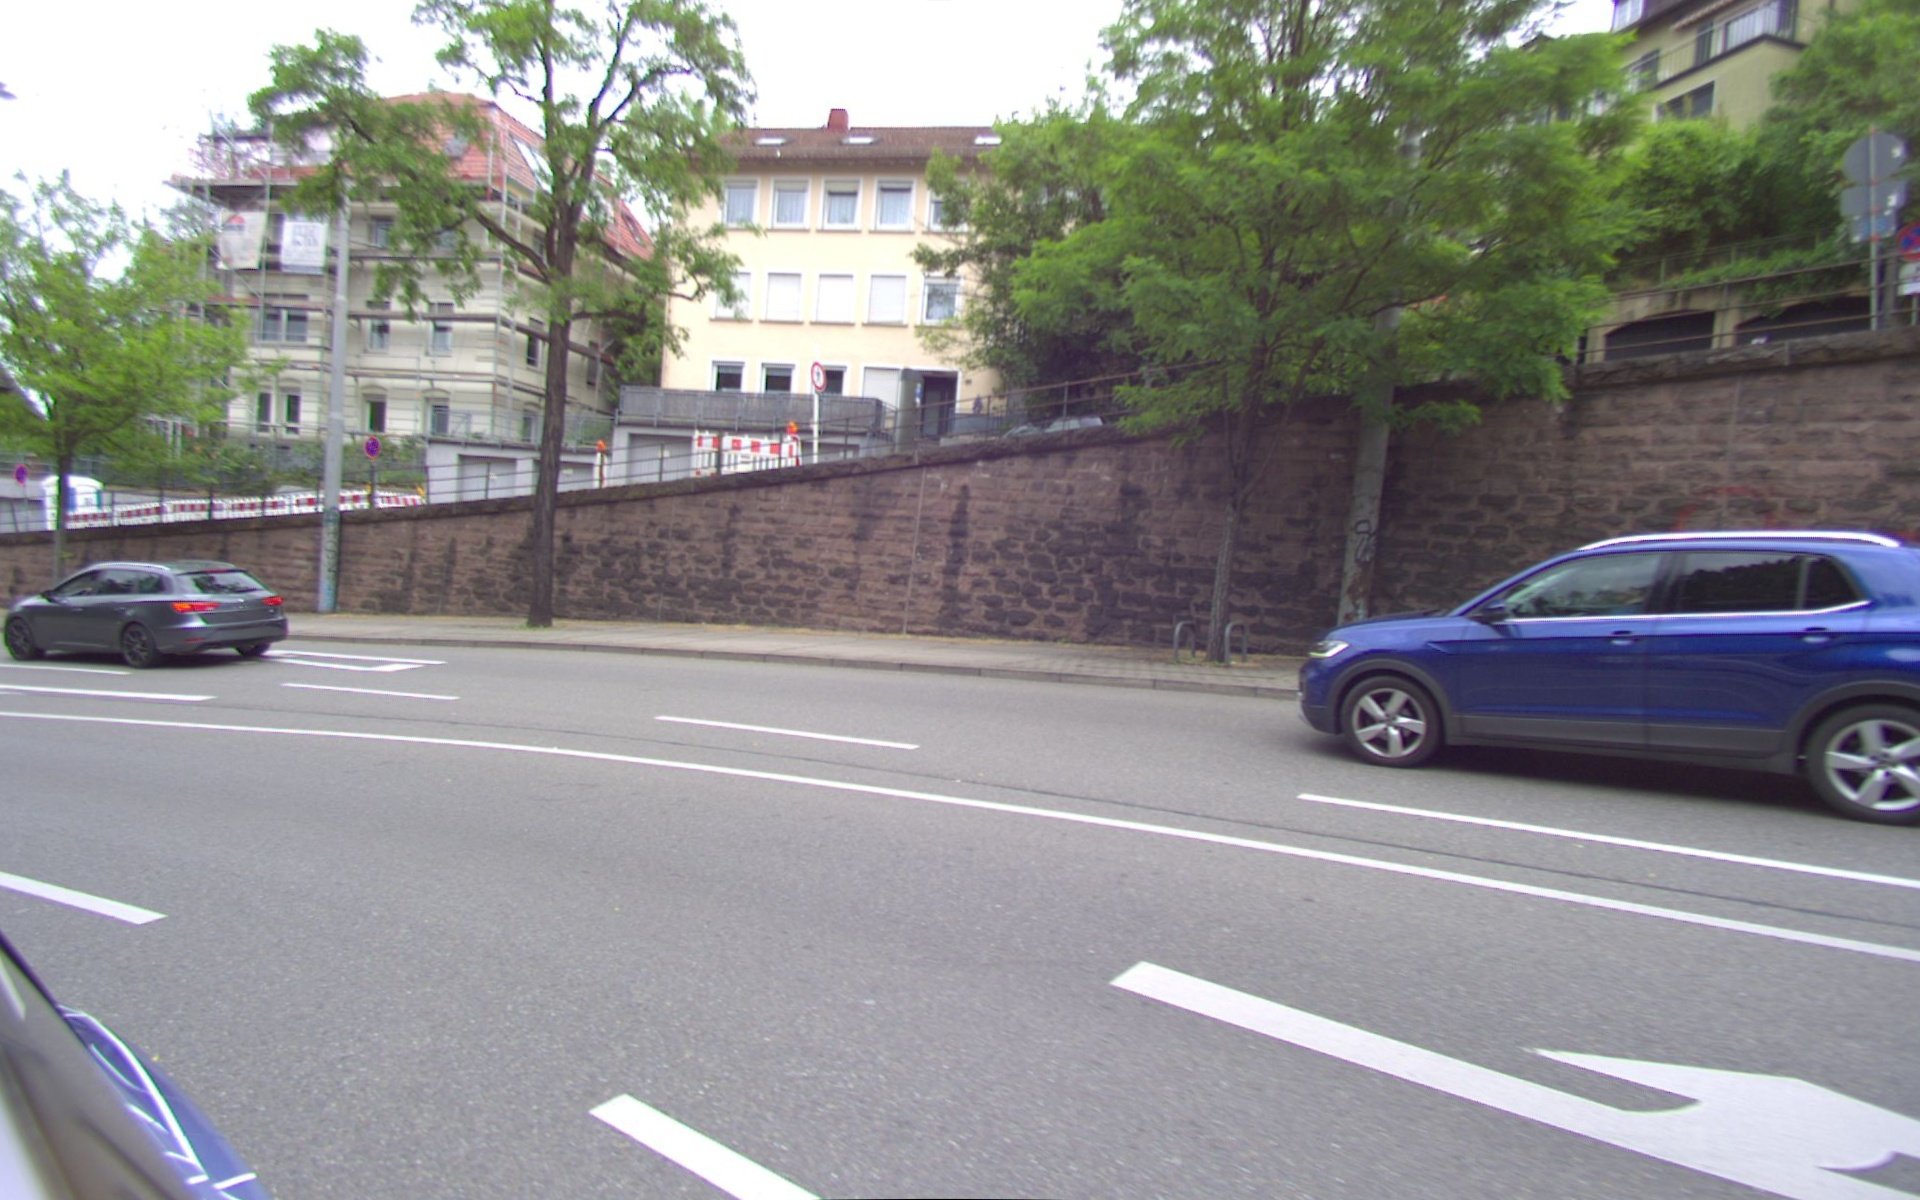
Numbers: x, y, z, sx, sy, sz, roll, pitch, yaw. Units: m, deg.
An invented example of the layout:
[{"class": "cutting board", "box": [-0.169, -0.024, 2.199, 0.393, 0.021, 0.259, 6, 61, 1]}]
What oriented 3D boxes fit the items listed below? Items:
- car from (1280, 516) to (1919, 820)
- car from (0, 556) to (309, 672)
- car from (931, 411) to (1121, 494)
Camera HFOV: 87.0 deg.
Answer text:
[{"class": "car", "box": [4.452, 0.299, 6.598, 4.199, 1.539, 1.708, 1, 3, 41]}, {"class": "car", "box": [-12.044, 0.119, 14.943, 4.368, 1.477, 1.778, 1, 4, 19]}, {"class": "car", "box": [1.525, -3.360, 23.544, 4.041, 1.652, 1.760, 2, 3, 25]}]
